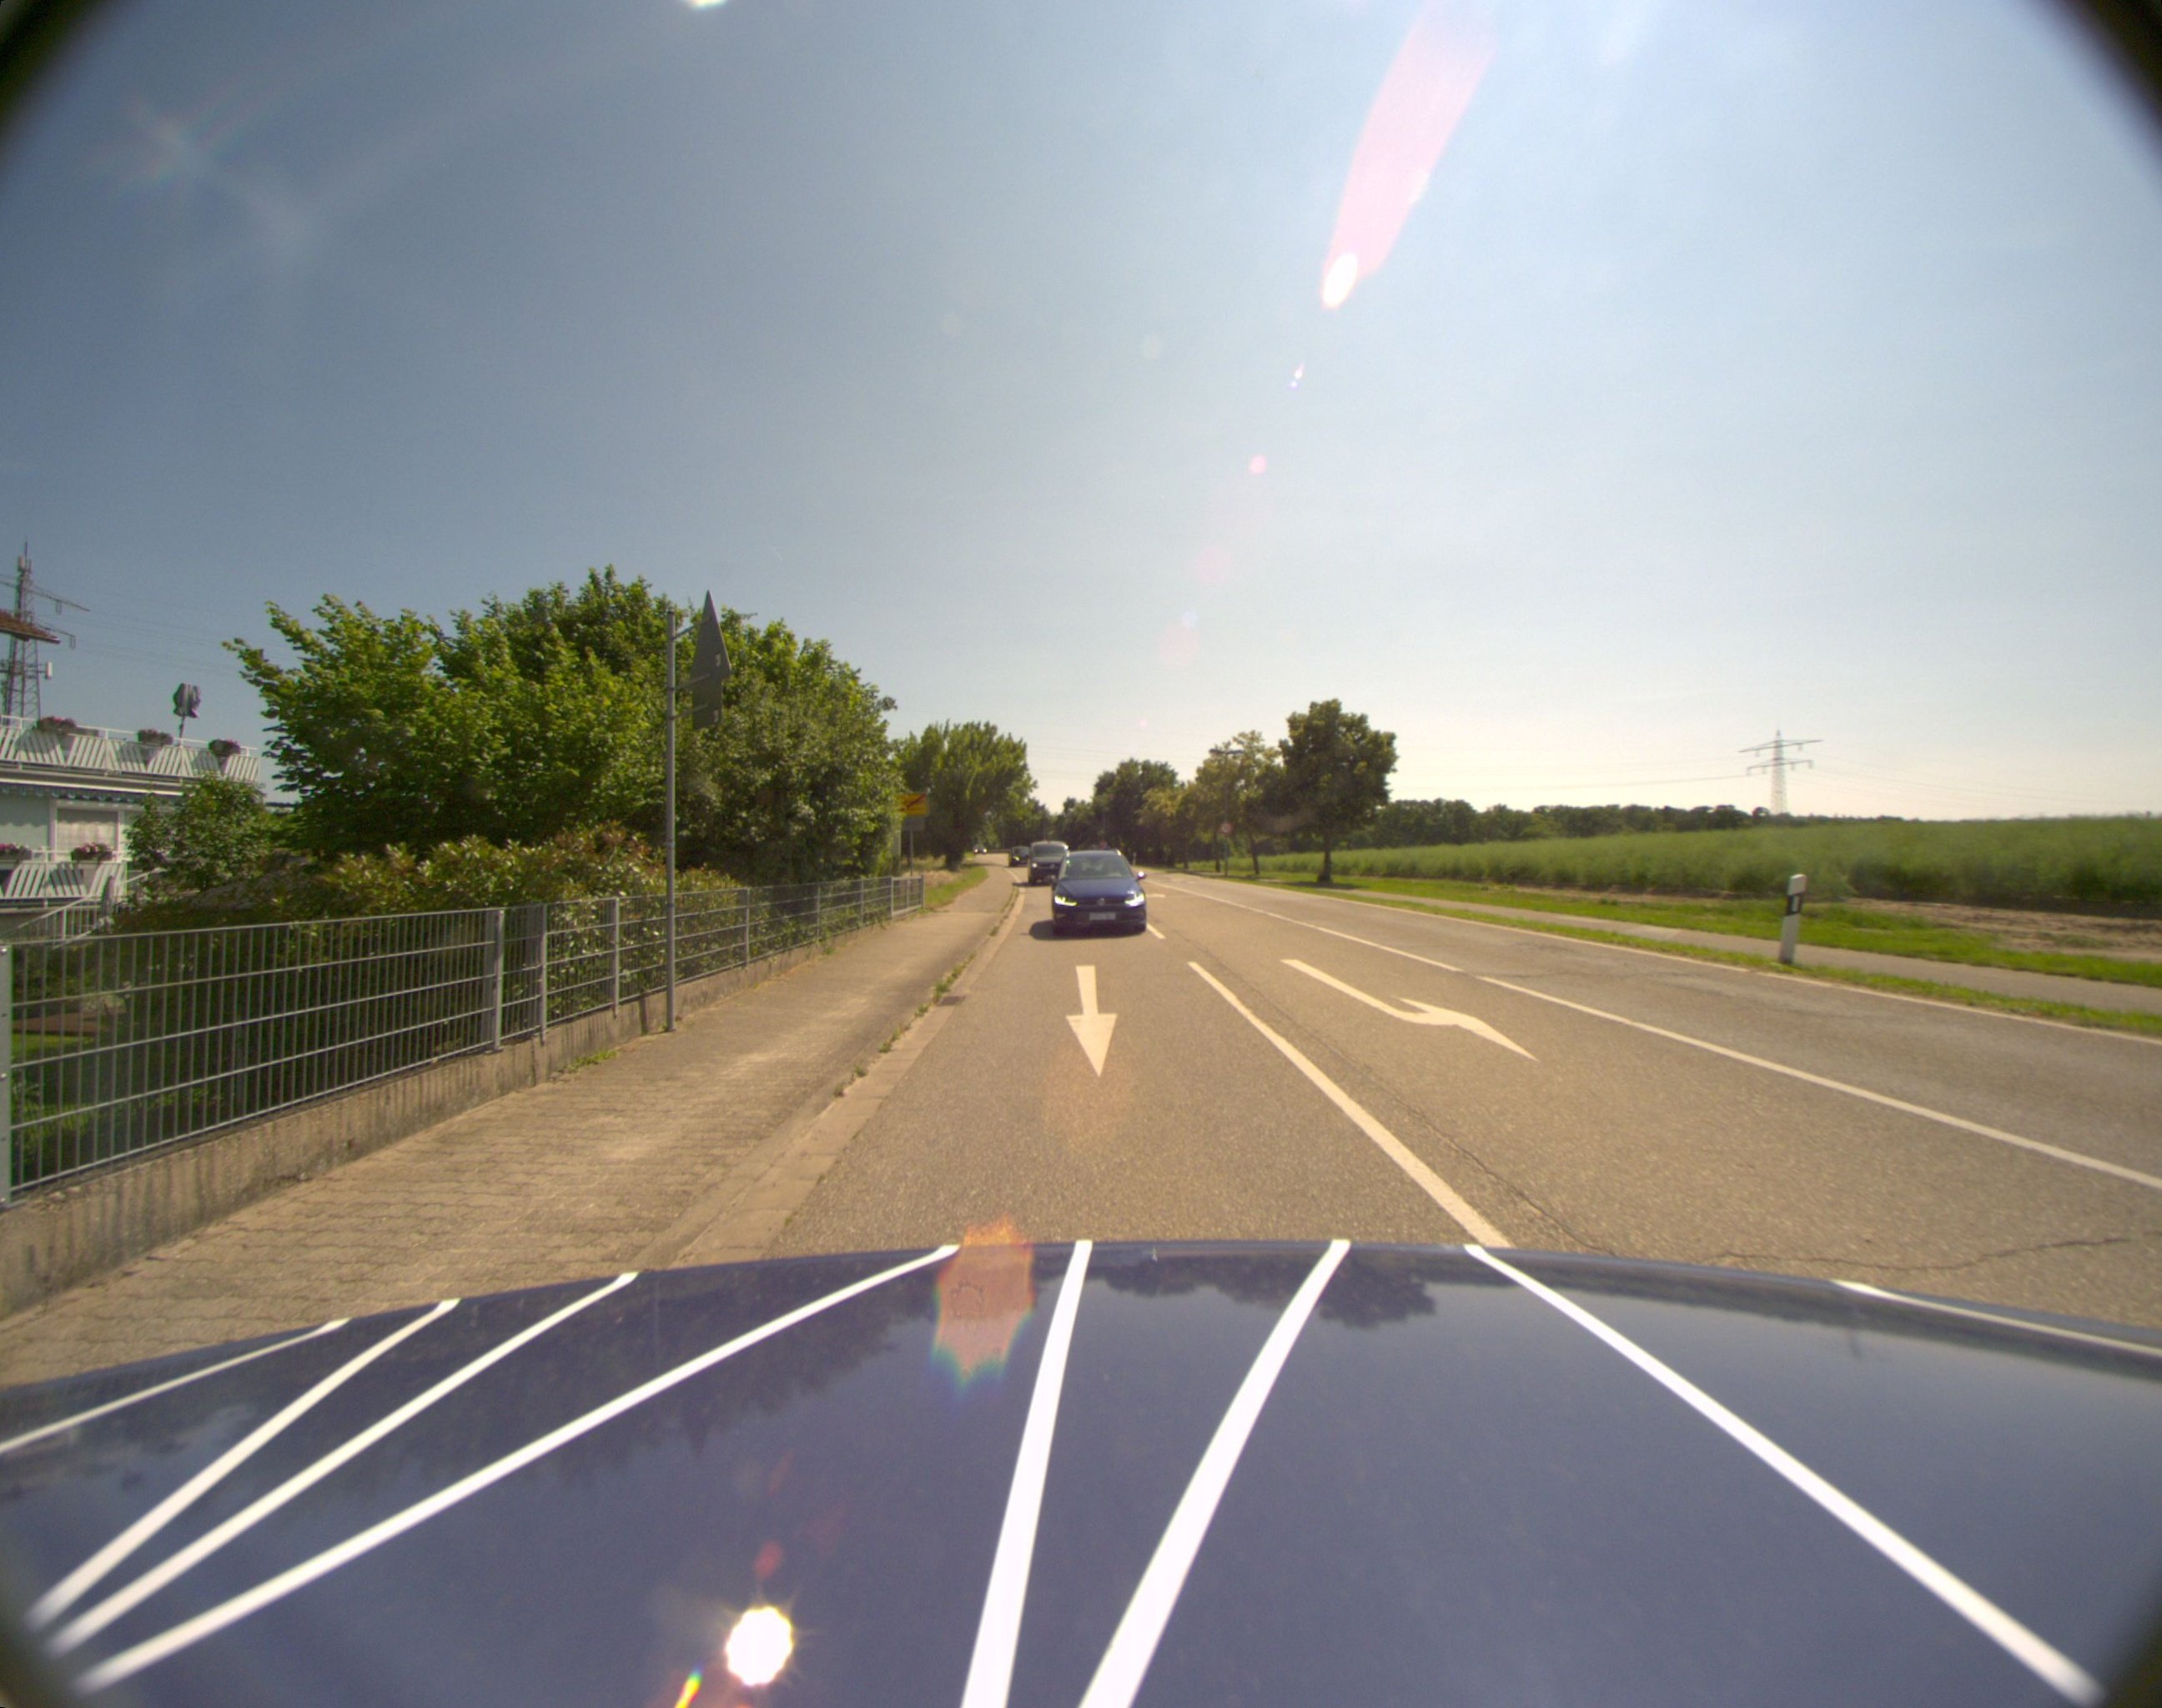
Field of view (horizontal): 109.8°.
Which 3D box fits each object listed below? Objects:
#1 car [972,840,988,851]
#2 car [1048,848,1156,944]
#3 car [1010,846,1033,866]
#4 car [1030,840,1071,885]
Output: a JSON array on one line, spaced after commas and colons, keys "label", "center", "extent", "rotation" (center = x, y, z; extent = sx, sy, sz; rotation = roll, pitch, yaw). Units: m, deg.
[{"label": "car", "center": [-16.055, -1.346, 120.761], "extent": [2.001, 1.523, 3.995], "rotation": [-2, 0, -14]}, {"label": "car", "center": [0.282, 0.687, 14.879], "extent": [1.765, 1.520, 4.421], "rotation": [-2, 1, -2]}, {"label": "car", "center": [-5.008, 0.146, 63.419], "extent": [1.766, 1.530, 3.682], "rotation": [-1, 0, -7]}, {"label": "car", "center": [-1.459, 0.384, 35.706], "extent": [1.765, 1.954, 4.260], "rotation": [-1, 0, -3]}]
